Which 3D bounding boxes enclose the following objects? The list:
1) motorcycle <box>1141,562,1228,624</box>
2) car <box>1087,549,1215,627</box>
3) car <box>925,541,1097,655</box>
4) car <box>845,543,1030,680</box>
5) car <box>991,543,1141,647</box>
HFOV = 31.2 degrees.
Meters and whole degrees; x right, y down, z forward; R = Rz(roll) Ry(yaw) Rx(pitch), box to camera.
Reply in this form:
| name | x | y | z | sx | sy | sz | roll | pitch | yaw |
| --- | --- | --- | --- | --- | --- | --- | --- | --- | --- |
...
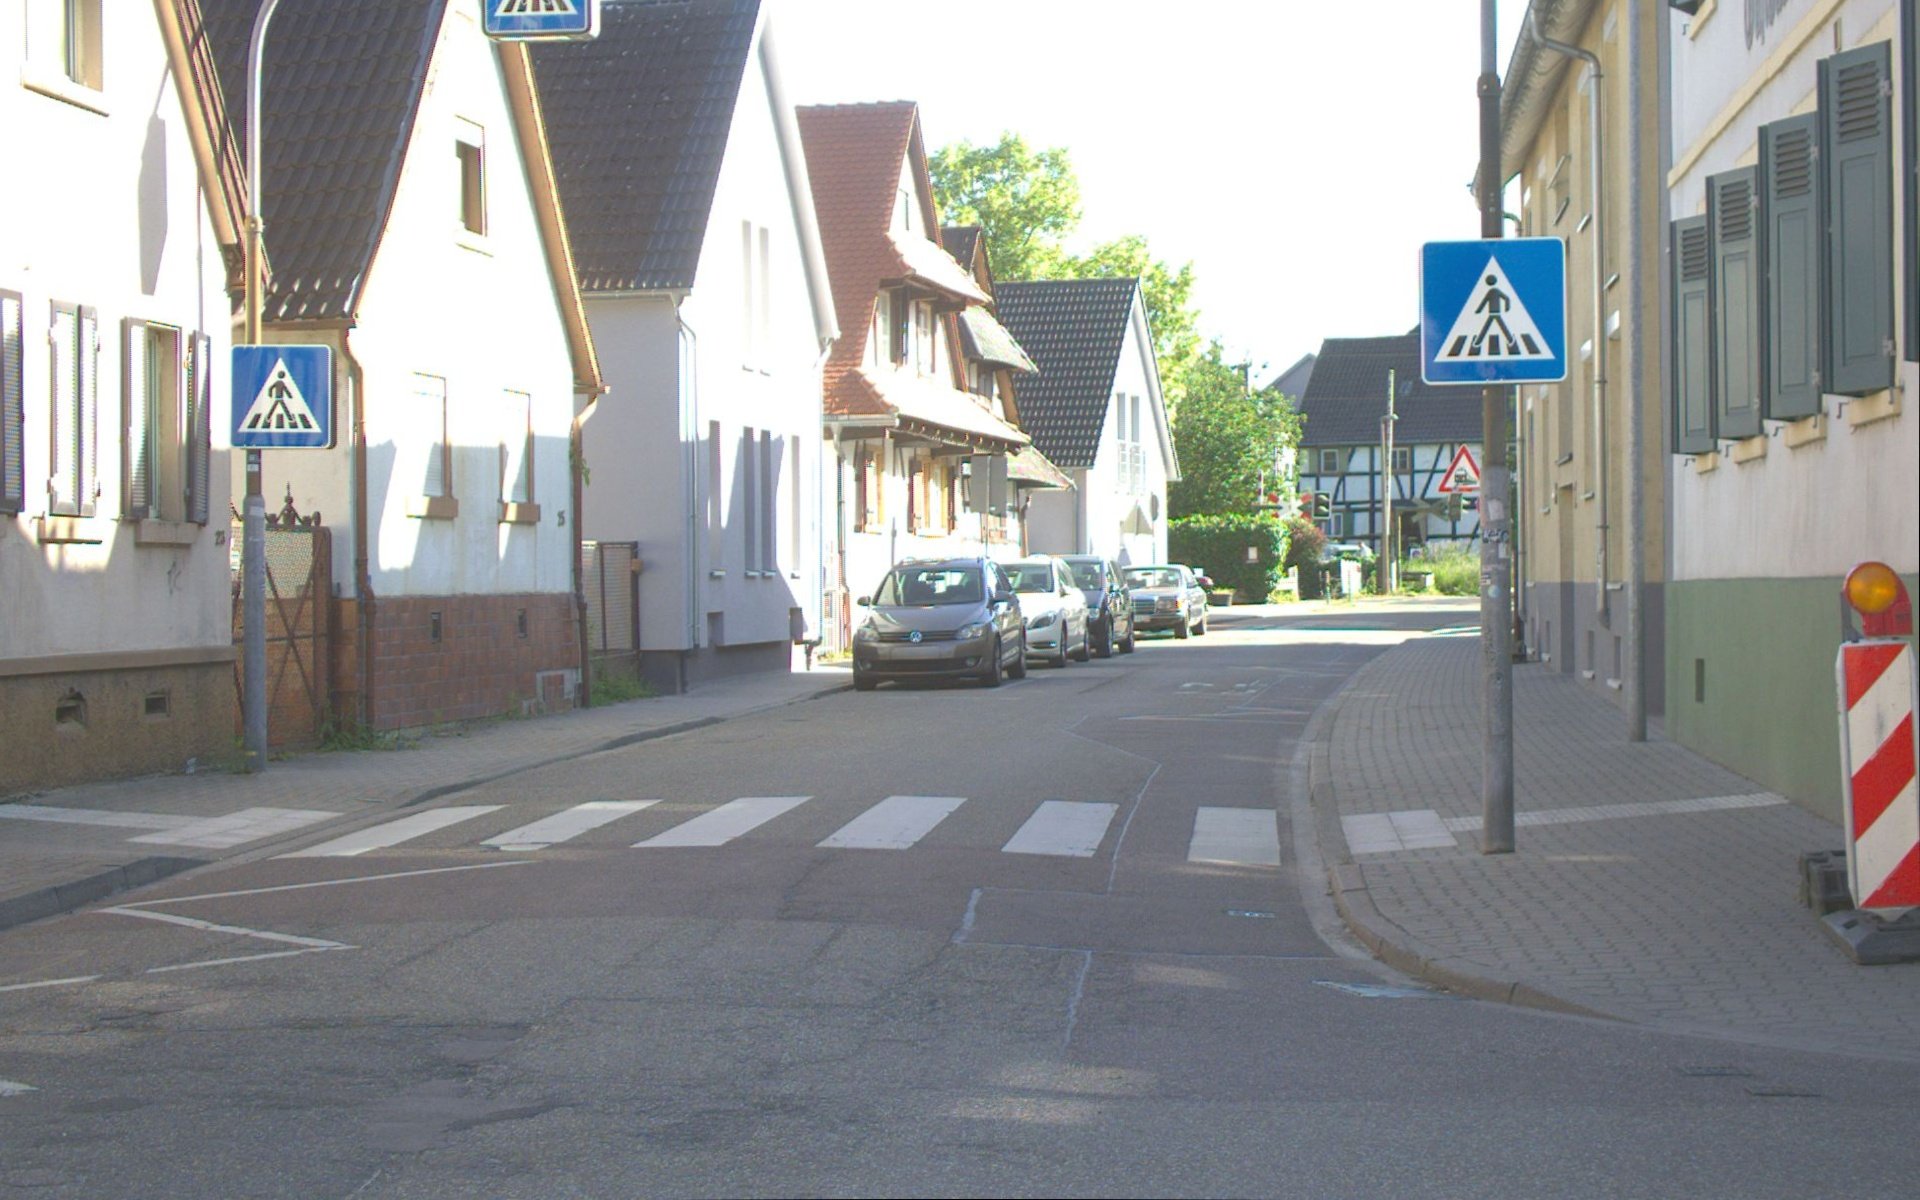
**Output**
| name | x | y | z | sx | sy | sz | roll | pitch | yaw |
| --- | --- | --- | --- | --- | --- | --- | --- | --- | --- |
| motorcycle | 4.556 | -0.139 | 69.846 | 0.625 | 1.227 | 1.994 | -2 | 1 | -35 |
| car | 3.731 | -0.232 | 66.372 | 1.845 | 1.401 | 5.034 | -2 | 0 | 10 |
| car | 0.781 | -0.032 | 49.509 | 1.817 | 1.561 | 4.166 | 0 | 0 | 10 |
| car | -0.232 | 0.125 | 42.514 | 1.743 | 1.608 | 3.999 | 0 | 0 | 8 |
| car | 1.744 | -0.099 | 55.151 | 1.784 | 1.599 | 4.359 | 0 | 1 | 10 |
